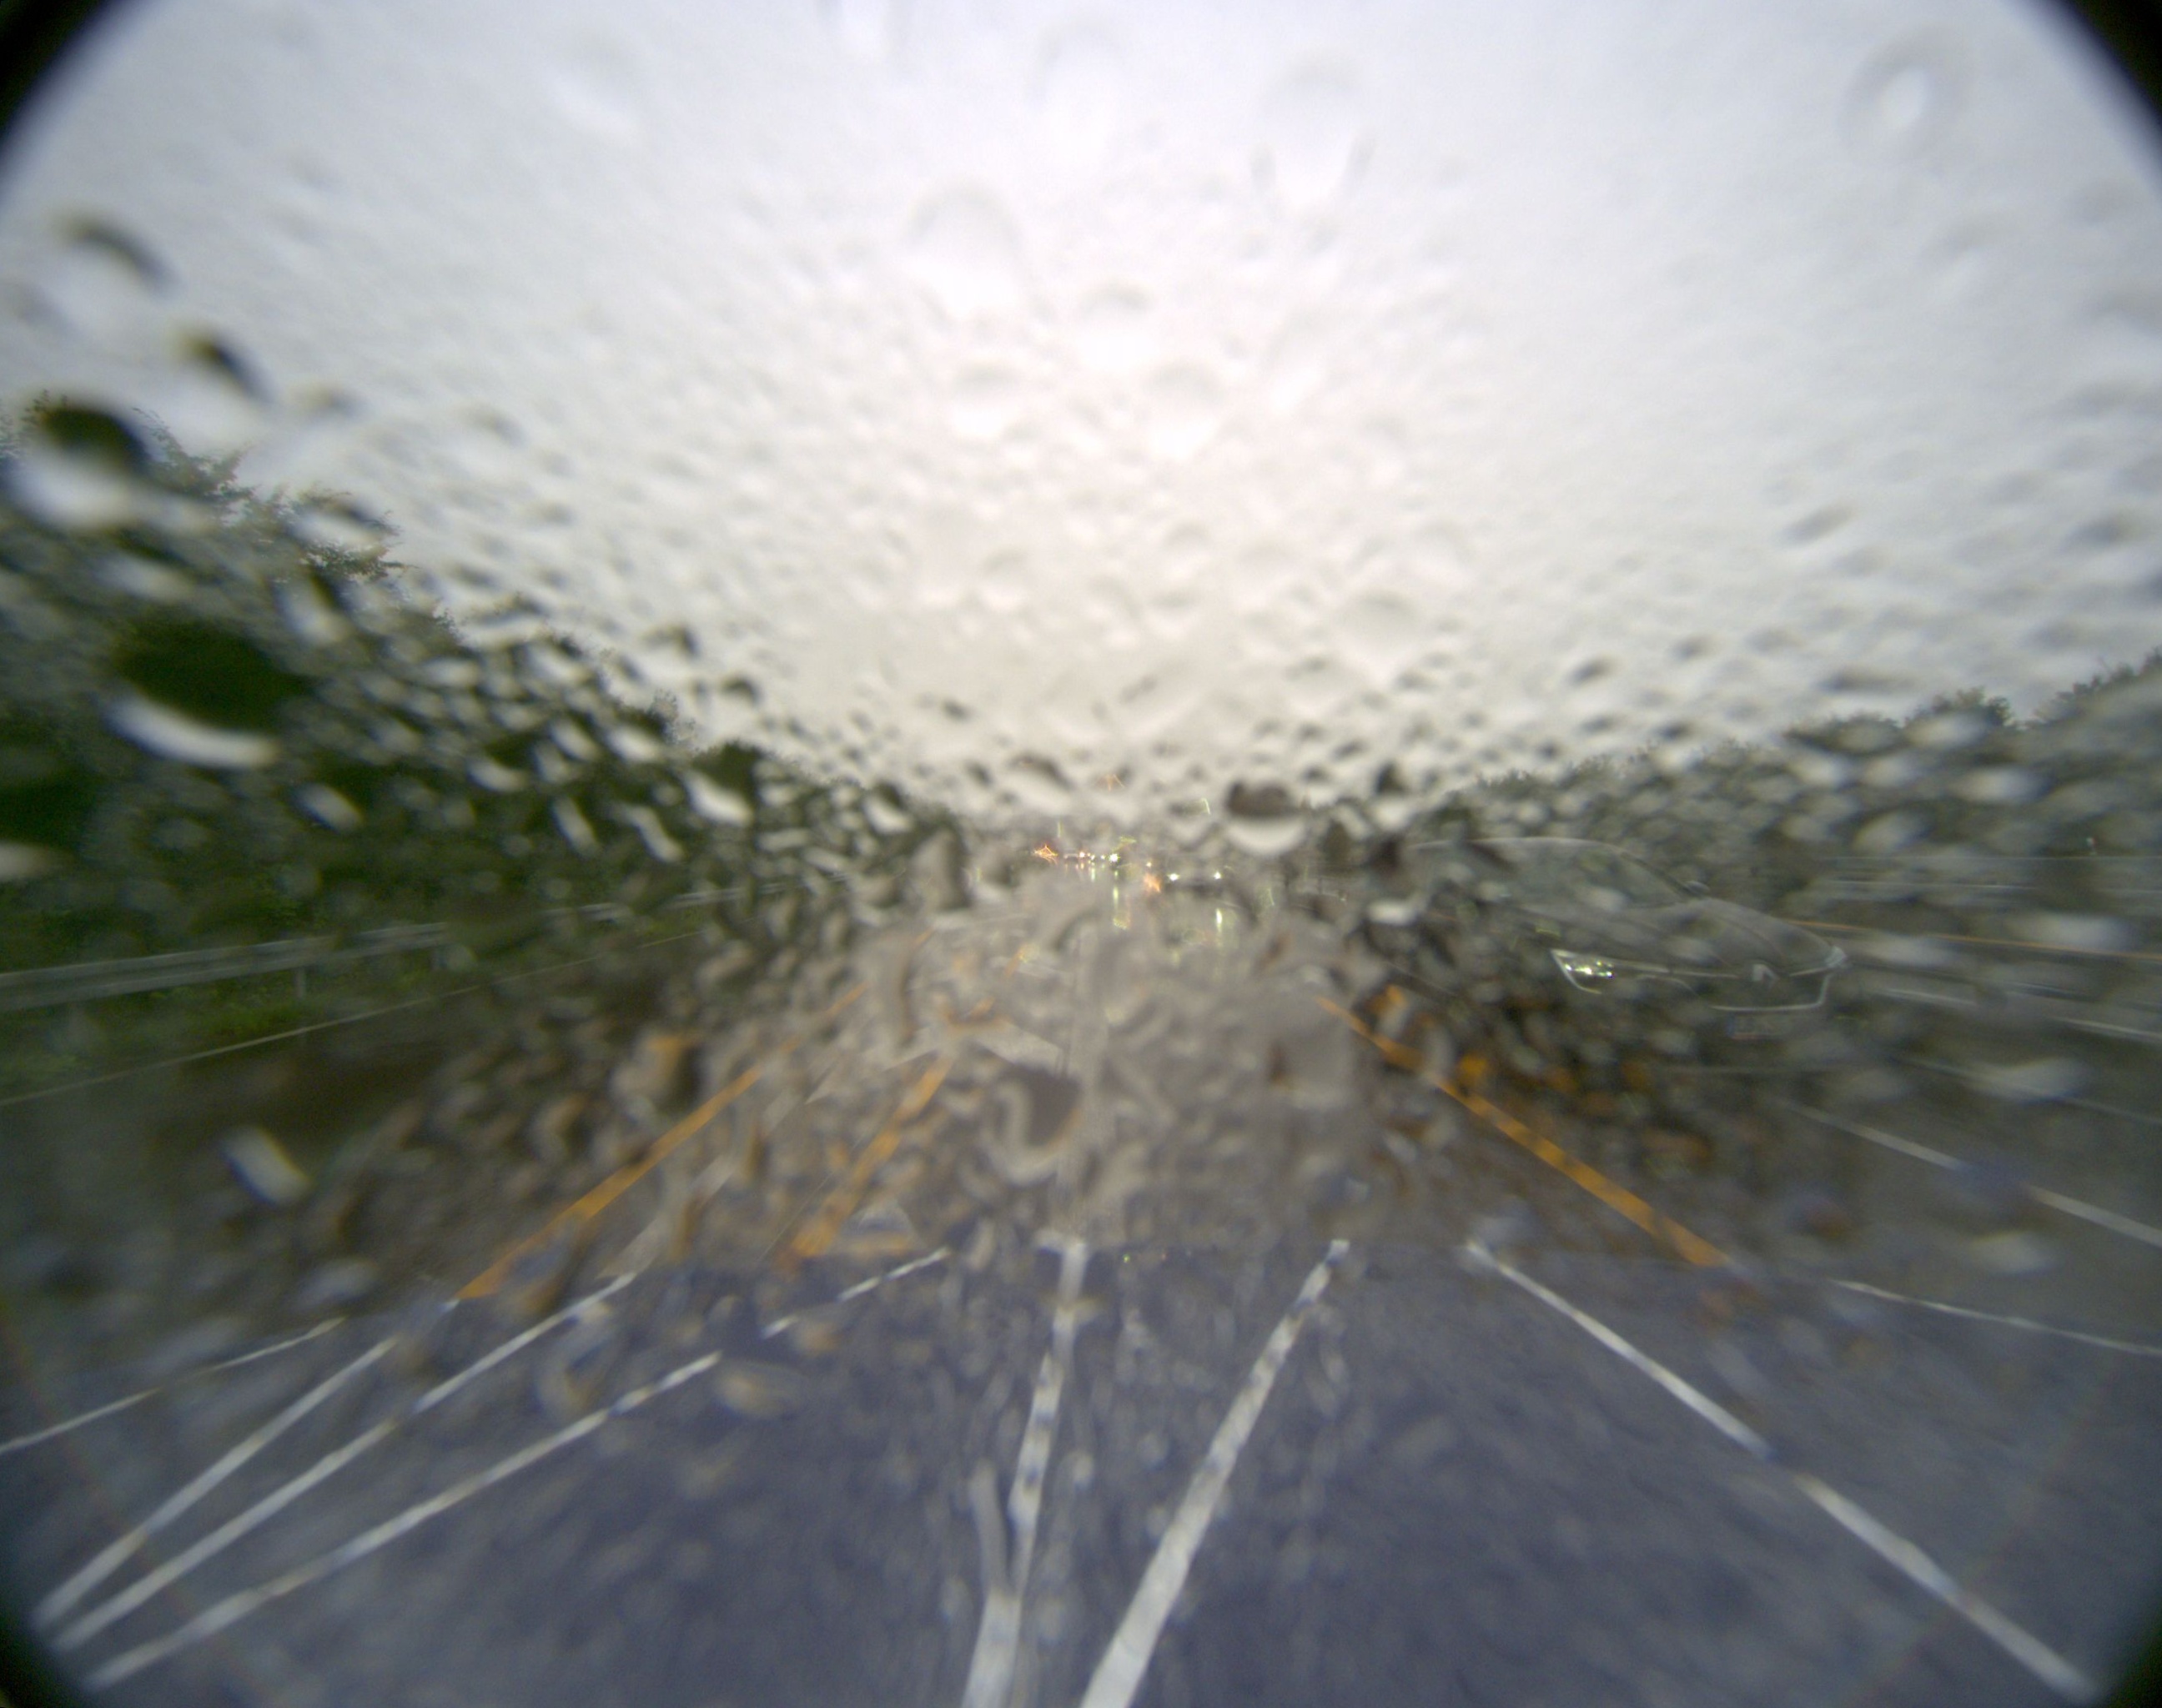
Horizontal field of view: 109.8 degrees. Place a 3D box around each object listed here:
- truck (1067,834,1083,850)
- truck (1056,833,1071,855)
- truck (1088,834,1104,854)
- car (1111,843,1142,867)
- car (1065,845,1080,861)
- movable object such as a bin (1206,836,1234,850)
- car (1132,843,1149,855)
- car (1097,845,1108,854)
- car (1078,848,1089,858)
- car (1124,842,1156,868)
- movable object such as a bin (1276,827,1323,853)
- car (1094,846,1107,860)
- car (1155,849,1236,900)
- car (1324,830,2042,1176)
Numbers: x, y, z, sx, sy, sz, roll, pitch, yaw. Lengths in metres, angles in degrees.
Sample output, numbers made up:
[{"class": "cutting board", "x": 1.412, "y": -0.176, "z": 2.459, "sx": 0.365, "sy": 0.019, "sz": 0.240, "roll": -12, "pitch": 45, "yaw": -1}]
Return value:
[{"class": "truck", "x": -2.151, "y": -3.872, "z": 251.788, "sx": 3.284, "sy": 4.809, "sz": 15.974, "roll": -3, "pitch": 1, "yaw": -7}, {"class": "truck", "x": -3.434, "y": -2.007, "z": 150.678, "sx": 2.484, "sy": 4.061, "sz": 8.702, "roll": -3, "pitch": 1, "yaw": 0}, {"class": "truck", "x": 3.685, "y": -2.536, "z": 194.420, "sx": 3.283, "sy": 4.809, "sz": 15.981, "roll": -3, "pitch": 1, "yaw": -1}, {"class": "car", "x": 3.981, "y": 0.062, "z": 67.449, "sx": 2.211, "sy": 2.002, "sz": 5.562, "roll": -3, "pitch": 1, "yaw": 0}, {"class": "car", "x": -1.113, "y": -0.179, "z": 101.899, "sx": 1.881, "sy": 2.002, "sz": 3.999, "roll": -3, "pitch": 1, "yaw": 0}, {"class": "movable object such as a bin", "x": 24.146, "y": -1.933, "z": 132.486, "sx": 3.448, "sy": 2.281, "sz": 5.097, "roll": -3, "pitch": 1, "yaw": -7}, {"class": "car", "x": 9.018, "y": -0.753, "z": 115.201, "sx": 1.956, "sy": 1.707, "sz": 5.102, "roll": -3, "pitch": 1, "yaw": -1}, {"class": "car", "x": 4.334, "y": -0.992, "z": 151.975, "sx": 1.956, "sy": 1.707, "sz": 5.102, "roll": -3, "pitch": 1, "yaw": -1}, {"class": "car", "x": 0.387, "y": -0.152, "z": 133.654, "sx": 1.845, "sy": 1.586, "sz": 3.999, "roll": -3, "pitch": 1, "yaw": 0}, {"class": "car", "x": 3.859, "y": 0.110, "z": 50.269, "sx": 1.978, "sy": 1.586, "sz": 4.310, "roll": -2, "pitch": -1, "yaw": 3}, {"class": "movable object such as a bin", "x": 26.107, "y": -1.659, "z": 91.125, "sx": 3.774, "sy": 2.782, "sz": 6.329, "roll": -3, "pitch": 1, "yaw": 0}, {"class": "car", "x": 2.692, "y": -0.179, "z": 105.320, "sx": 1.695, "sy": 1.740, "sz": 3.999, "roll": -3, "pitch": 1, "yaw": 0}, {"class": "car", "x": 3.785, "y": 0.619, "z": 25.890, "sx": 1.998, "sy": 1.489, "sz": 4.630, "roll": -2, "pitch": 1, "yaw": 0}, {"class": "car", "x": 3.601, "y": 0.689, "z": 5.849, "sx": 1.998, "sy": 1.576, "sz": 4.412, "roll": -3, "pitch": 1, "yaw": 0}]
